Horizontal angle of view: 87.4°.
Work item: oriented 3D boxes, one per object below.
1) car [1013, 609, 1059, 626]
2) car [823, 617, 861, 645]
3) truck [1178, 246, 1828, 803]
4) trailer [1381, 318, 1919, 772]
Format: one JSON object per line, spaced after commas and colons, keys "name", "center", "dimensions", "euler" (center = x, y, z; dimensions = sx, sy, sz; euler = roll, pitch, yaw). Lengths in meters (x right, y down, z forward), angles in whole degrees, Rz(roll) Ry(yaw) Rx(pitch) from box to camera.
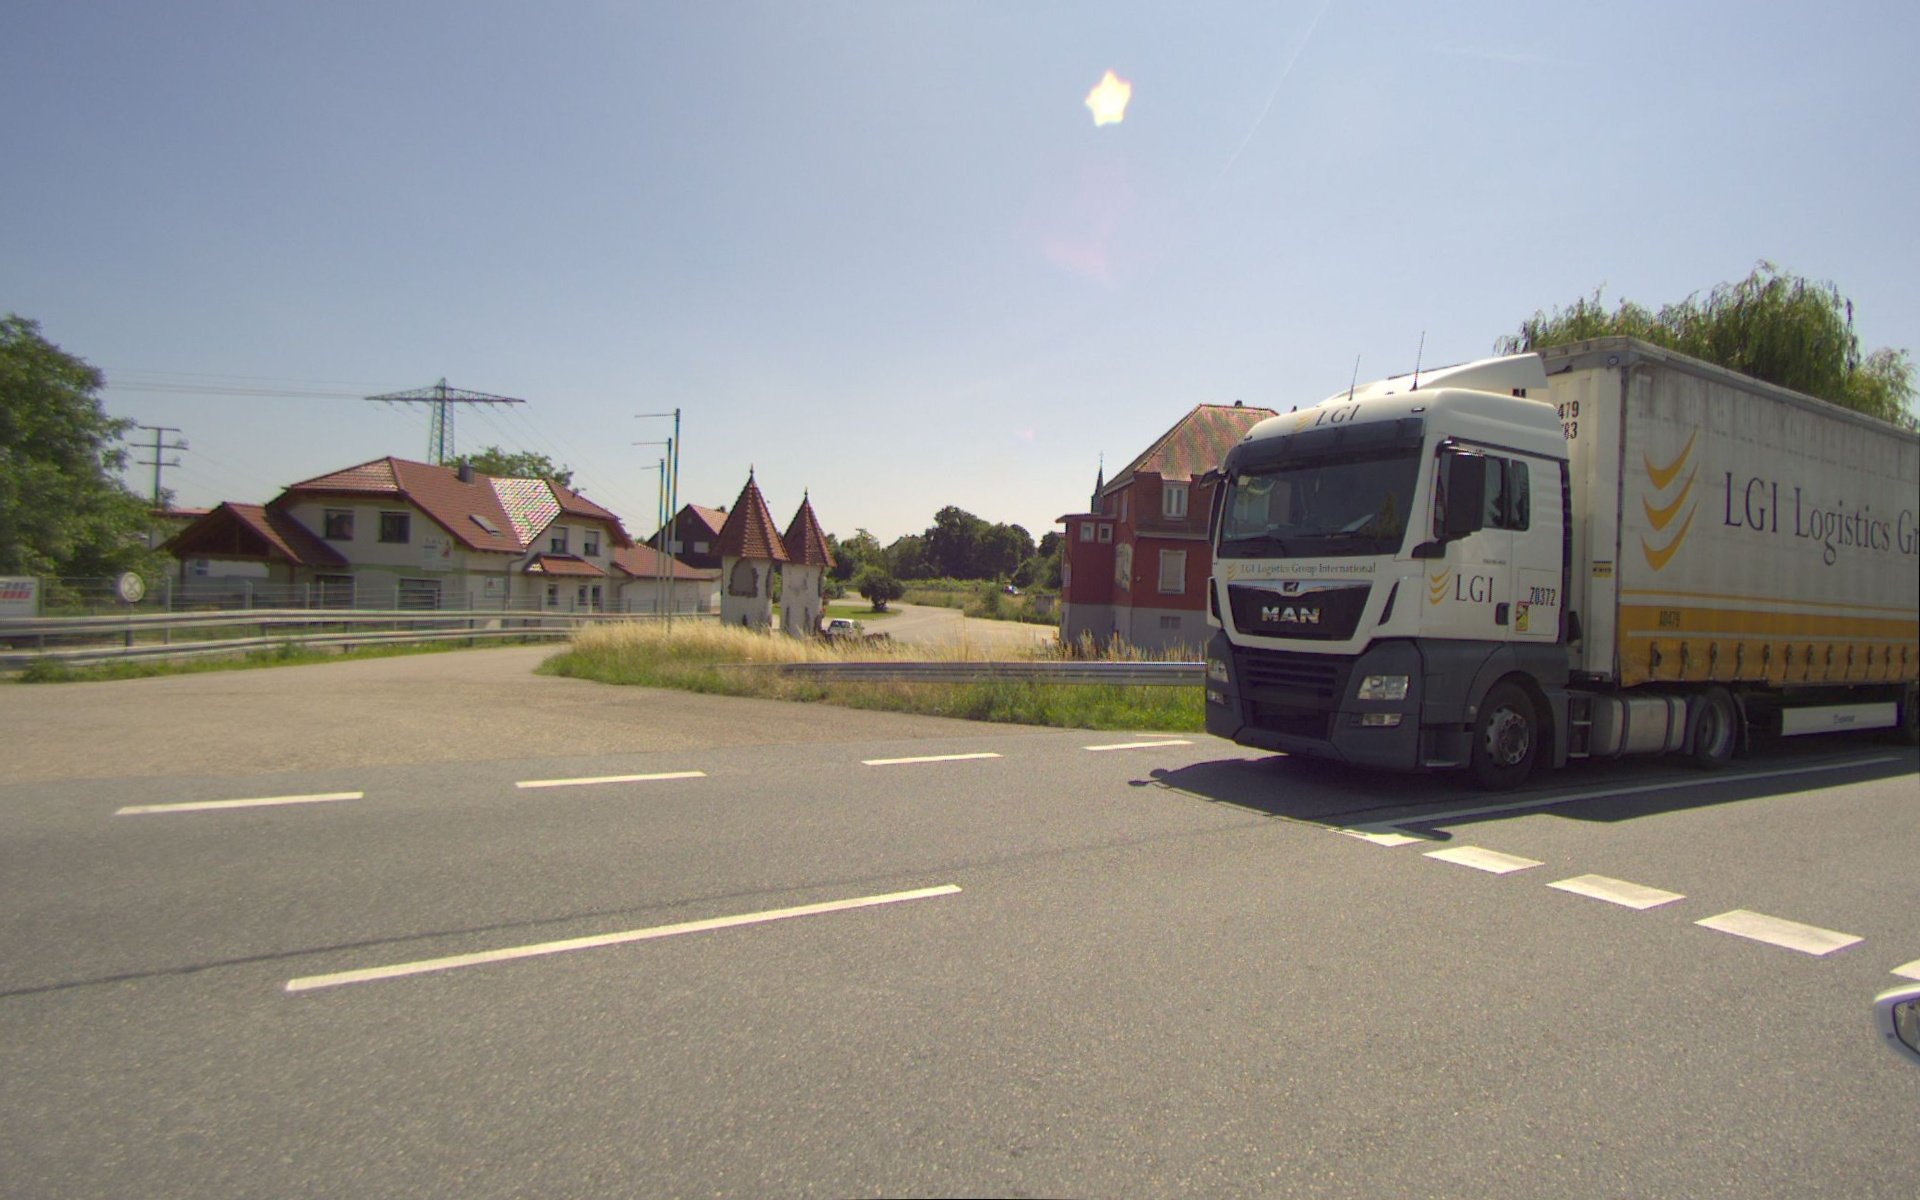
{"name": "car", "center": [6.757, 1.552, 89.535], "dimensions": [3.919, 1.461, 1.590], "euler": [1, 0, 12]}
{"name": "car", "center": [-6.784, 1.784, 58.204], "dimensions": [1.818, 1.543, 3.736], "euler": [1, -1, -2]}
{"name": "truck", "center": [5.769, -0.554, 10.382], "dimensions": [6.678, 4.111, 2.774], "euler": [1, 3, -32]}
{"name": "trailer", "center": [11.304, -0.442, 13.832], "dimensions": [13.351, 4.111, 2.774], "euler": [1, 3, -32]}
